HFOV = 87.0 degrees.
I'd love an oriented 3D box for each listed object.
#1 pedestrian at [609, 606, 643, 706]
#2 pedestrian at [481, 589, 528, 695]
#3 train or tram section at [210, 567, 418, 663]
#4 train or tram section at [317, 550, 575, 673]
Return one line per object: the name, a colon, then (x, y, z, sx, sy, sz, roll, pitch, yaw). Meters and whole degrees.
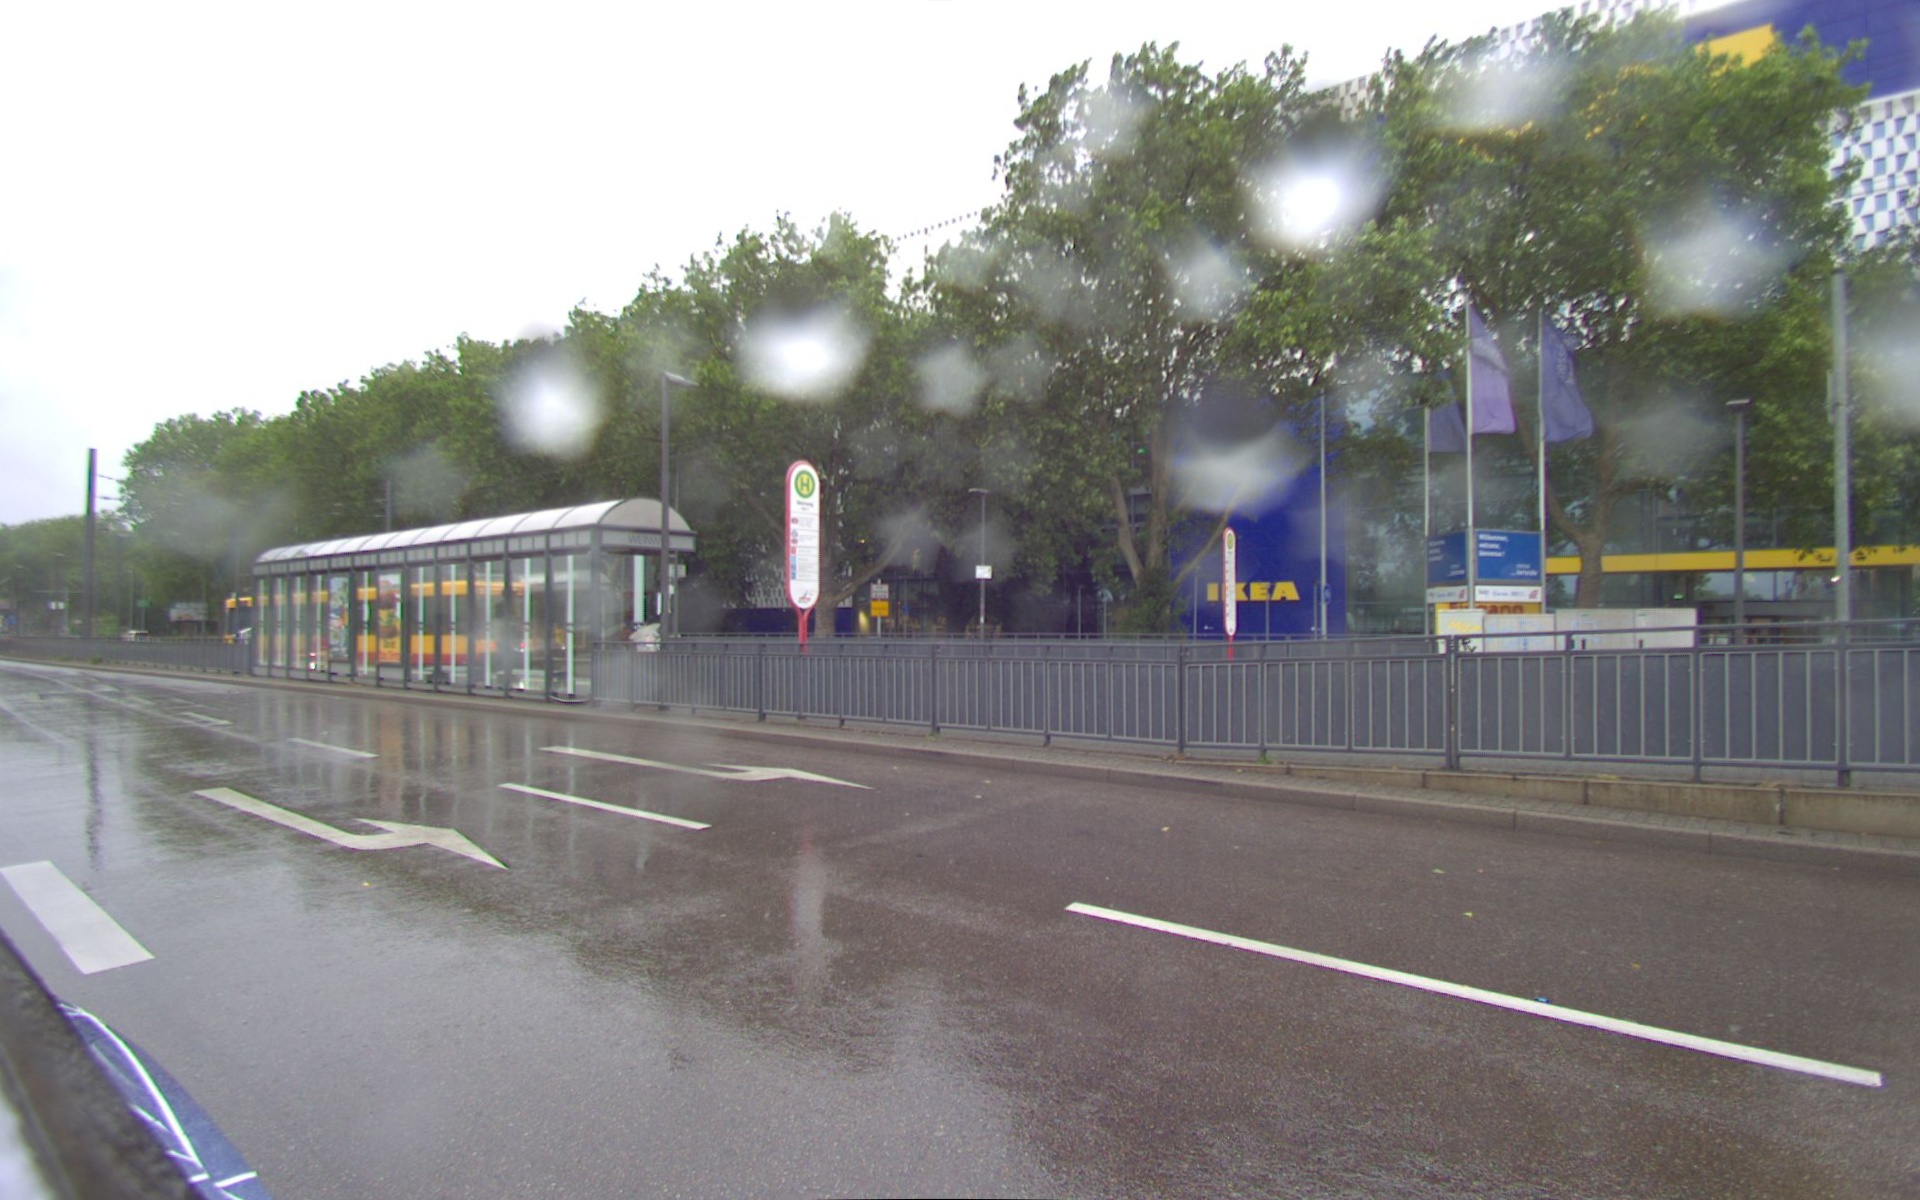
pedestrian: (-5.158, 0.852, 15.621, 0.317, 1.504, 0.416, -2, 1, -44)
pedestrian: (-8.340, 0.743, 18.517, 0.646, 1.885, 0.774, -1, 0, -33)
train or tram section: (-30.380, 0.677, 47.003, 15.560, 3.827, 3.703, -1, 0, 40)
train or tram section: (-19.456, 0.436, 37.612, 13.245, 3.868, 3.703, -1, 0, 40)
